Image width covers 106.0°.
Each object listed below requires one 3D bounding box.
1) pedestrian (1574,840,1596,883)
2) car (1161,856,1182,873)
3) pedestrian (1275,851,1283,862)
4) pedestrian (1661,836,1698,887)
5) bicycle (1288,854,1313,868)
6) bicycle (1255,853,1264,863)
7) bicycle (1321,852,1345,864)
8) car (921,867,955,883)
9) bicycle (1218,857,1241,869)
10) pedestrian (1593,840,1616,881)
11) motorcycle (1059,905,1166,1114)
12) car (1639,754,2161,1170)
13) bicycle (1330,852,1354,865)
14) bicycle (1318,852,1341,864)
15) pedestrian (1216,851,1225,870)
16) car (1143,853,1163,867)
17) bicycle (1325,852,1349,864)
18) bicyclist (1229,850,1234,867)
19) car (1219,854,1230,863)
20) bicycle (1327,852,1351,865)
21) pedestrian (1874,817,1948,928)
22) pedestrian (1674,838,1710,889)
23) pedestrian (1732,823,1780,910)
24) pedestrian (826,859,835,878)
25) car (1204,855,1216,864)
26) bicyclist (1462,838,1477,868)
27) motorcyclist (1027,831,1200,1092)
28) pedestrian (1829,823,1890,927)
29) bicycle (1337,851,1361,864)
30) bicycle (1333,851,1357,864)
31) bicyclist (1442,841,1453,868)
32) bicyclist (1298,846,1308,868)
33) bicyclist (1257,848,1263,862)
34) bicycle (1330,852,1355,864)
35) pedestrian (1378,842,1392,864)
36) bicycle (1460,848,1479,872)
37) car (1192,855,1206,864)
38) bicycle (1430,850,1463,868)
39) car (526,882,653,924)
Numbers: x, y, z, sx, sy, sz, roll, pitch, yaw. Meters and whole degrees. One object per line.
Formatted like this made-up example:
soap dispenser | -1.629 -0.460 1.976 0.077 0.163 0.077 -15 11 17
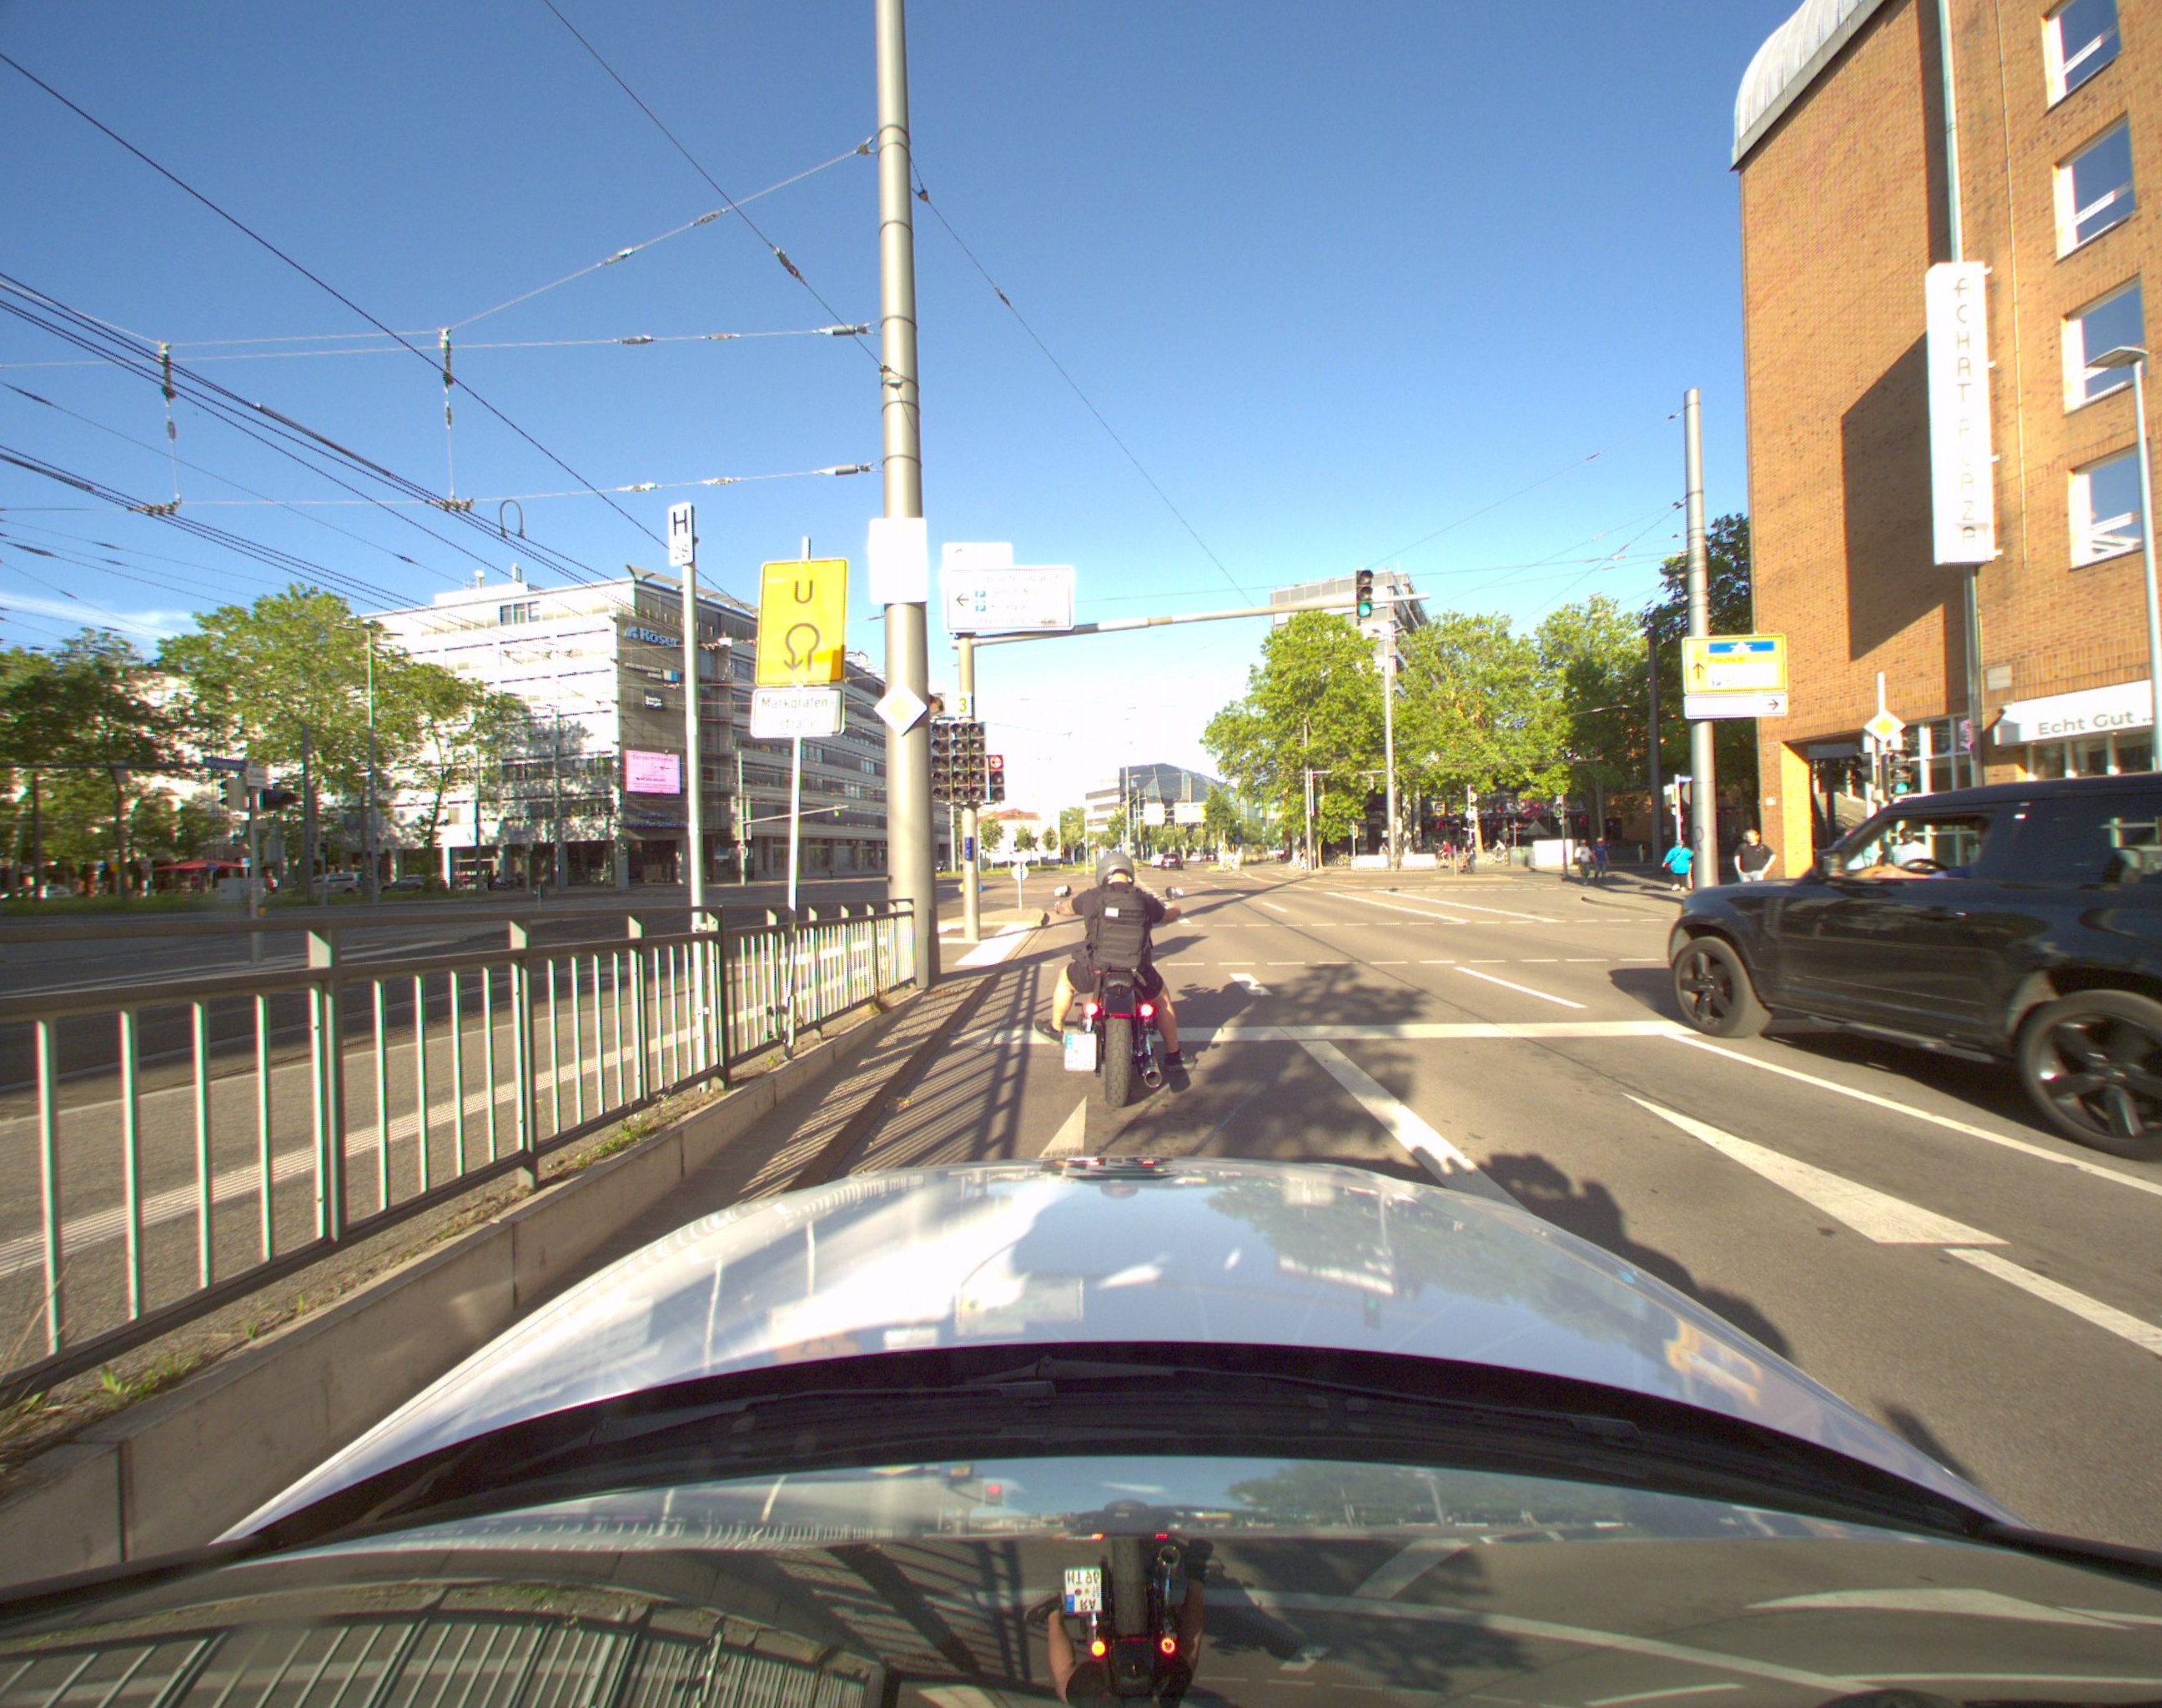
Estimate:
pedestrian | 18.458 0.277 29.848 0.561 1.533 0.706 -1 -1 22
car | 8.753 0.981 78.365 1.793 1.595 4.464 -2 0 9
pedestrian | 21.970 0.281 90.316 0.814 1.314 0.640 -1 -1 11
pedestrian | 17.713 0.228 24.110 0.590 1.452 0.601 -2 -1 2
bicycle | 17.553 0.566 64.987 1.854 1.044 0.540 -1 -1 20
bicycle | 22.903 0.519 104.394 0.722 1.367 2.922 0 -1 6
bicycle | 21.407 0.352 69.158 1.874 1.046 0.360 0 0 1
car | -13.890 2.027 79.165 1.737 1.524 4.014 -1 -1 13
bicycle | 12.178 0.754 66.949 1.823 0.925 0.357 0 -1 -7
pedestrian | 19.092 0.251 29.708 0.561 1.479 0.706 -1 -1 22
motorcycle | 0.212 0.949 5.721 0.598 1.036 2.235 0 0 2
car | 6.080 0.476 5.115 2.151 1.915 4.474 0 1 1
bicycle | 21.611 0.349 67.538 1.874 1.046 0.360 0 0 1
bicycle | 21.441 0.358 70.309 1.874 1.046 0.360 0 0 1
pedestrian | 11.805 0.545 69.001 0.587 1.557 0.488 0 -1 -6
car | 7.940 0.643 89.716 1.793 1.430 4.464 -2 0 9
bicycle | 21.593 0.351 68.656 1.874 1.046 0.360 0 0 1
bicyclist | 12.371 0.393 66.969 0.380 1.373 0.344 0 -1 -7
car | 27.429 0.883 155.771 1.717 1.838 3.589 -1 -1 14
bicycle | 21.578 0.357 68.170 1.874 1.046 0.360 0 -1 1
pedestrian | 13.771 0.298 13.520 0.682 1.780 0.589 -2 -1 -24
pedestrian | 18.349 0.291 24.462 0.590 1.476 0.552 -2 -1 2
pedestrian | 14.267 0.271 17.220 0.727 1.792 0.515 -1 -1 42
pedestrian | -26.300 1.549 85.509 0.628 2.014 0.754 0 -1 2
car | 23.298 0.983 146.472 1.790 1.678 4.055 0 -1 14
bicyclist | 20.068 -0.043 42.073 0.561 1.519 0.636 -1 -1 17
motorcyclist | 0.215 0.670 5.489 1.027 1.593 0.874 -2 0 1
pedestrian | 13.694 0.371 14.337 0.586 1.780 0.686 -3 -1 33
bicycle | 21.514 0.285 65.385 1.874 1.046 0.360 0 -1 1
bicycle | 21.453 0.308 66.168 1.874 1.046 0.360 0 -1 1
bicyclist | 25.281 0.042 56.148 0.582 1.837 0.403 0 -1 1
bicyclist | 17.711 0.245 64.931 0.682 1.673 0.544 -2 -2 21
bicyclist | 22.924 0.177 104.482 0.693 1.808 0.730 0 -1 6
bicycle | 21.509 0.331 66.982 1.874 1.046 0.360 0 -1 1
pedestrian | 23.835 -0.083 63.902 0.829 1.704 0.760 0 -1 2
bicycle | 20.064 0.323 42.068 0.562 1.178 2.340 -1 -1 17
car | 19.725 0.836 135.720 1.790 1.430 4.470 -2 0 14
bicycle | 25.193 0.352 56.147 2.034 1.214 0.421 0 -1 2
car | -13.867 1.359 23.120 2.884 1.063 1.235 0 -1 -19
